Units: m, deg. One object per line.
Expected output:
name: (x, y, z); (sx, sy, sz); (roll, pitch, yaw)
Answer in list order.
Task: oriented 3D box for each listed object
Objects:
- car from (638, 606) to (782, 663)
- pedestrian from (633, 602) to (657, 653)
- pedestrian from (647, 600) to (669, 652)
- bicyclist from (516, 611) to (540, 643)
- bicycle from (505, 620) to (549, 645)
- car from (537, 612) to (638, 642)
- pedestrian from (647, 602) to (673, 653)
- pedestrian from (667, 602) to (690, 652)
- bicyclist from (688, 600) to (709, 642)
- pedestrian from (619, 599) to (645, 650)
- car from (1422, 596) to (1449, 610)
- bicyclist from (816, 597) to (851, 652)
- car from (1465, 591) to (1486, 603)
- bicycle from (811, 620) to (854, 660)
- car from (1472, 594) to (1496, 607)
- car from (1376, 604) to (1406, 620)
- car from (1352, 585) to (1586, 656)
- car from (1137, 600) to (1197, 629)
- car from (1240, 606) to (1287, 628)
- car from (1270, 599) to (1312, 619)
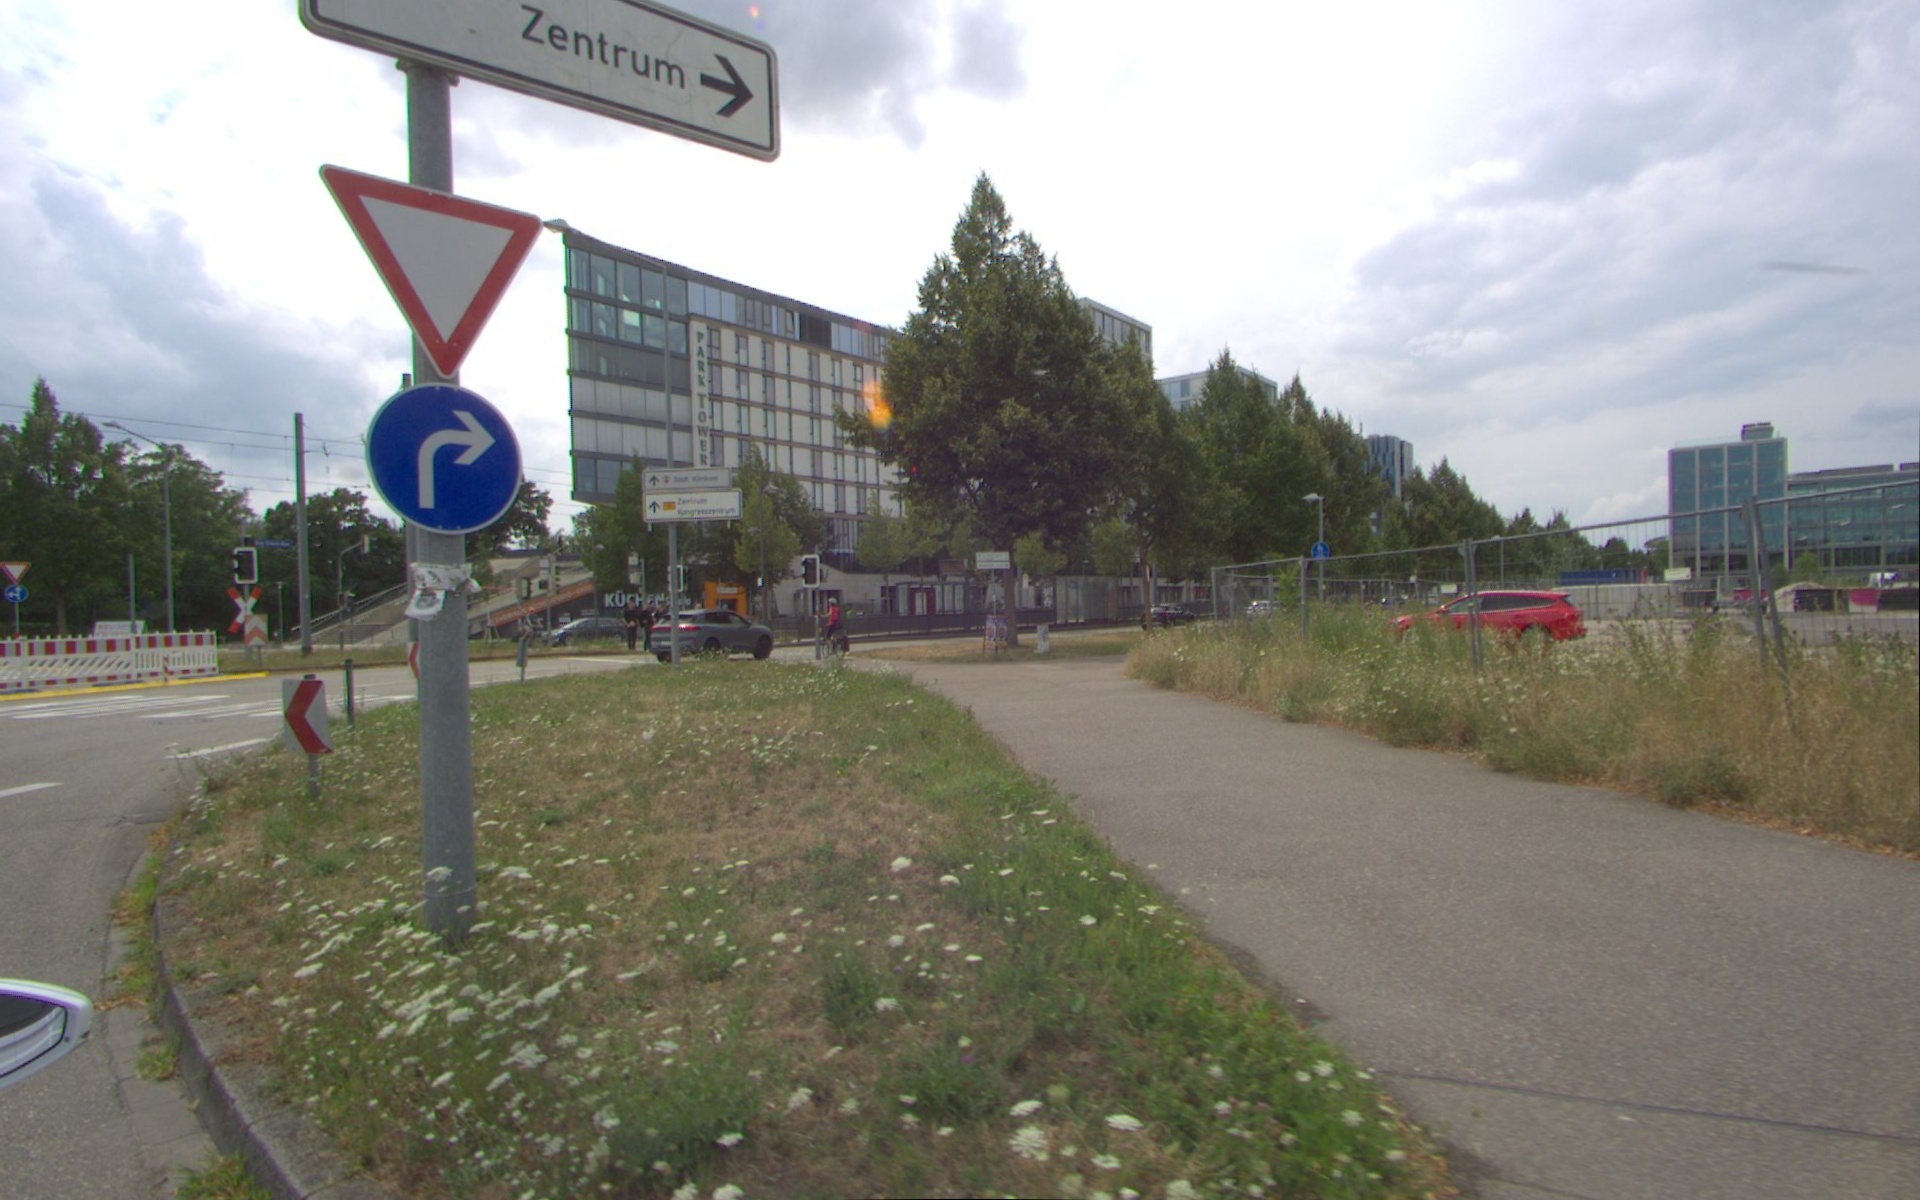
car: (-7.467, 0.983, 30.397); (2.029, 1.571, 4.463); (-1, 0, 22)
pedestrian: (-11.344, 0.972, 36.045); (0.545, 1.805, 0.630); (0, 0, 33)
pedestrian: (-11.019, 0.934, 36.574); (0.545, 1.886, 0.528); (0, 0, 33)
bicyclist: (-18.106, 1.125, 41.973); (0.663, 1.334, 0.638); (0, 0, 21)
bicycle: (-18.153, 1.371, 41.990); (1.726, 1.020, 0.652); (-1, 0, 21)
car: (-19.546, 1.380, 52.726); (1.826, 1.477, 4.702); (-1, 0, 39)
pedestrian: (-10.732, 0.990, 35.868); (0.545, 1.805, 0.686); (0, 0, 33)
pedestrian: (-10.241, 0.976, 36.417); (0.545, 1.805, 0.577); (0, 0, 33)
bicyclist: (-10.013, 0.800, 38.289); (0.553, 1.601, 0.761); (-1, 0, -34)
pedestrian: (-11.595, 0.865, 35.398); (0.545, 1.805, 0.686); (0, 0, 33)
car: (53.422, 0.319, 112.431); (1.780, 1.517, 4.228); (-1, 0, 39)
bicyclist: (-3.941, 0.751, 31.081); (0.779, 1.649, 1.045); (-1, 0, -23)
car: (72.989, -0.397, 141.756); (1.975, 1.639, 4.719); (-1, -1, 37)
bicycle: (-4.000, 1.218, 31.271); (0.778, 1.183, 2.035); (-1, 0, -23)
car: (68.514, 0.083, 130.995); (1.975, 1.639, 4.718); (-1, -1, 38)
car: (41.616, 1.144, 96.657); (1.778, 1.517, 4.090); (-1, 0, 36)
car: (12.694, 0.527, 25.125); (5.066, 1.625, 1.780); (-2, 0, 33)
car: (11.825, 0.801, 57.028); (1.719, 1.539, 4.117); (-1, 0, 38)
car: (21.775, 1.223, 71.751); (1.807, 1.482, 4.230); (-1, 0, 37)
car: (26.617, 0.734, 80.411); (1.713, 1.554, 4.336); (-1, 0, 41)
